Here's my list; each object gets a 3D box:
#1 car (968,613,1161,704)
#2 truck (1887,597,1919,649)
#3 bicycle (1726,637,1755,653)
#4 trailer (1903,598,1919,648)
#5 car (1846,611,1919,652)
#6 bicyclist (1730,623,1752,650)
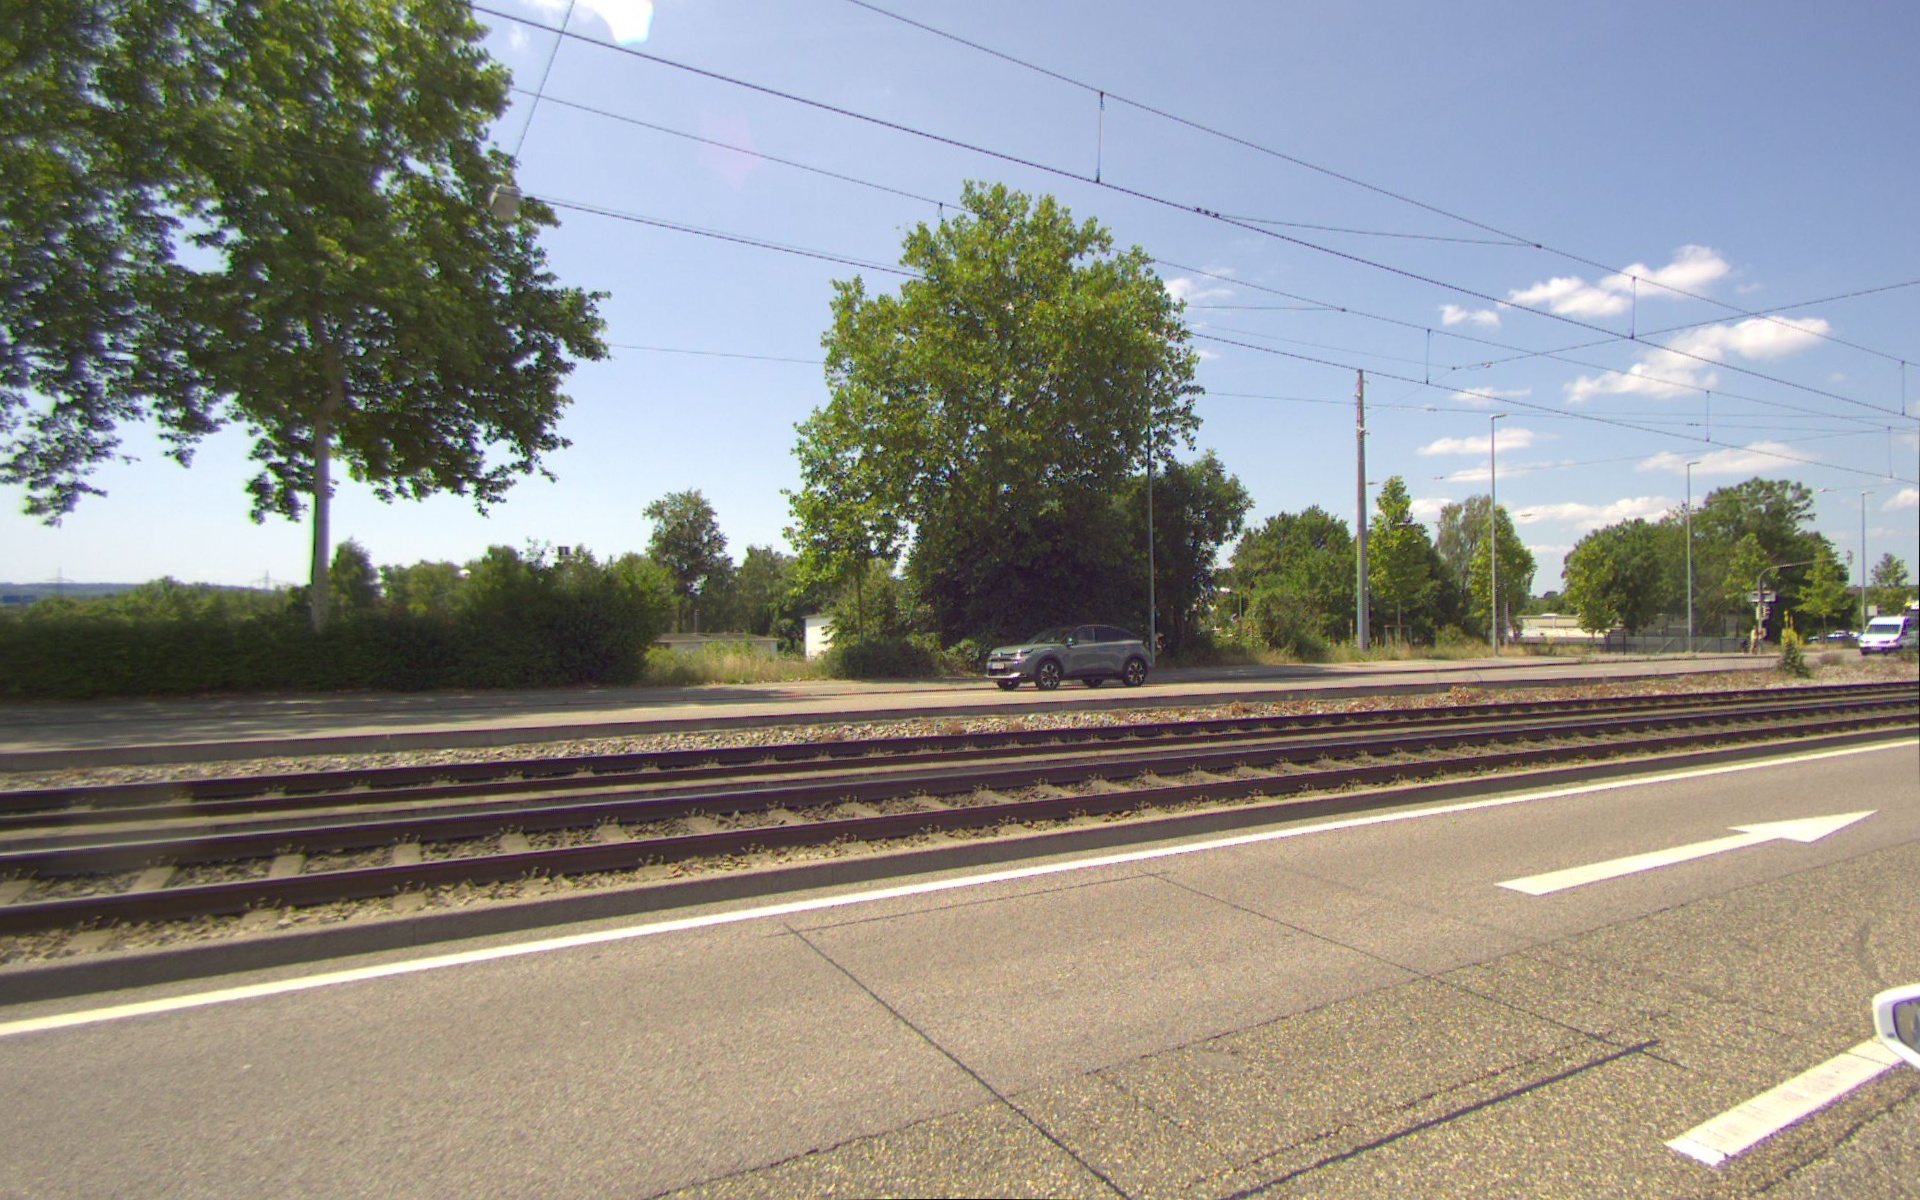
[{"bbox_3d":[2.542,1.317,24.195,4.364,1.944,1.981,1,1,-34],"label":"car"},{"bbox_3d":[69.779,1.672,72.289,6.364,3.616,2.754,1,0,-30],"label":"truck"},{"bbox_3d":[52.736,3.032,67.881,0.480,1.000,1.482,1,0,-33],"label":"bicycle"},{"bbox_3d":[76.372,1.807,76.201,15.692,3.565,2.753,1,0,-31],"label":"trailer"},{"bbox_3d":[62.355,2.093,67.620,6.163,2.623,2.232,0,-3,-31],"label":"car"},{"bbox_3d":[52.749,2.468,67.872,0.337,1.798,1.112,1,0,-34],"label":"bicyclist"}]
